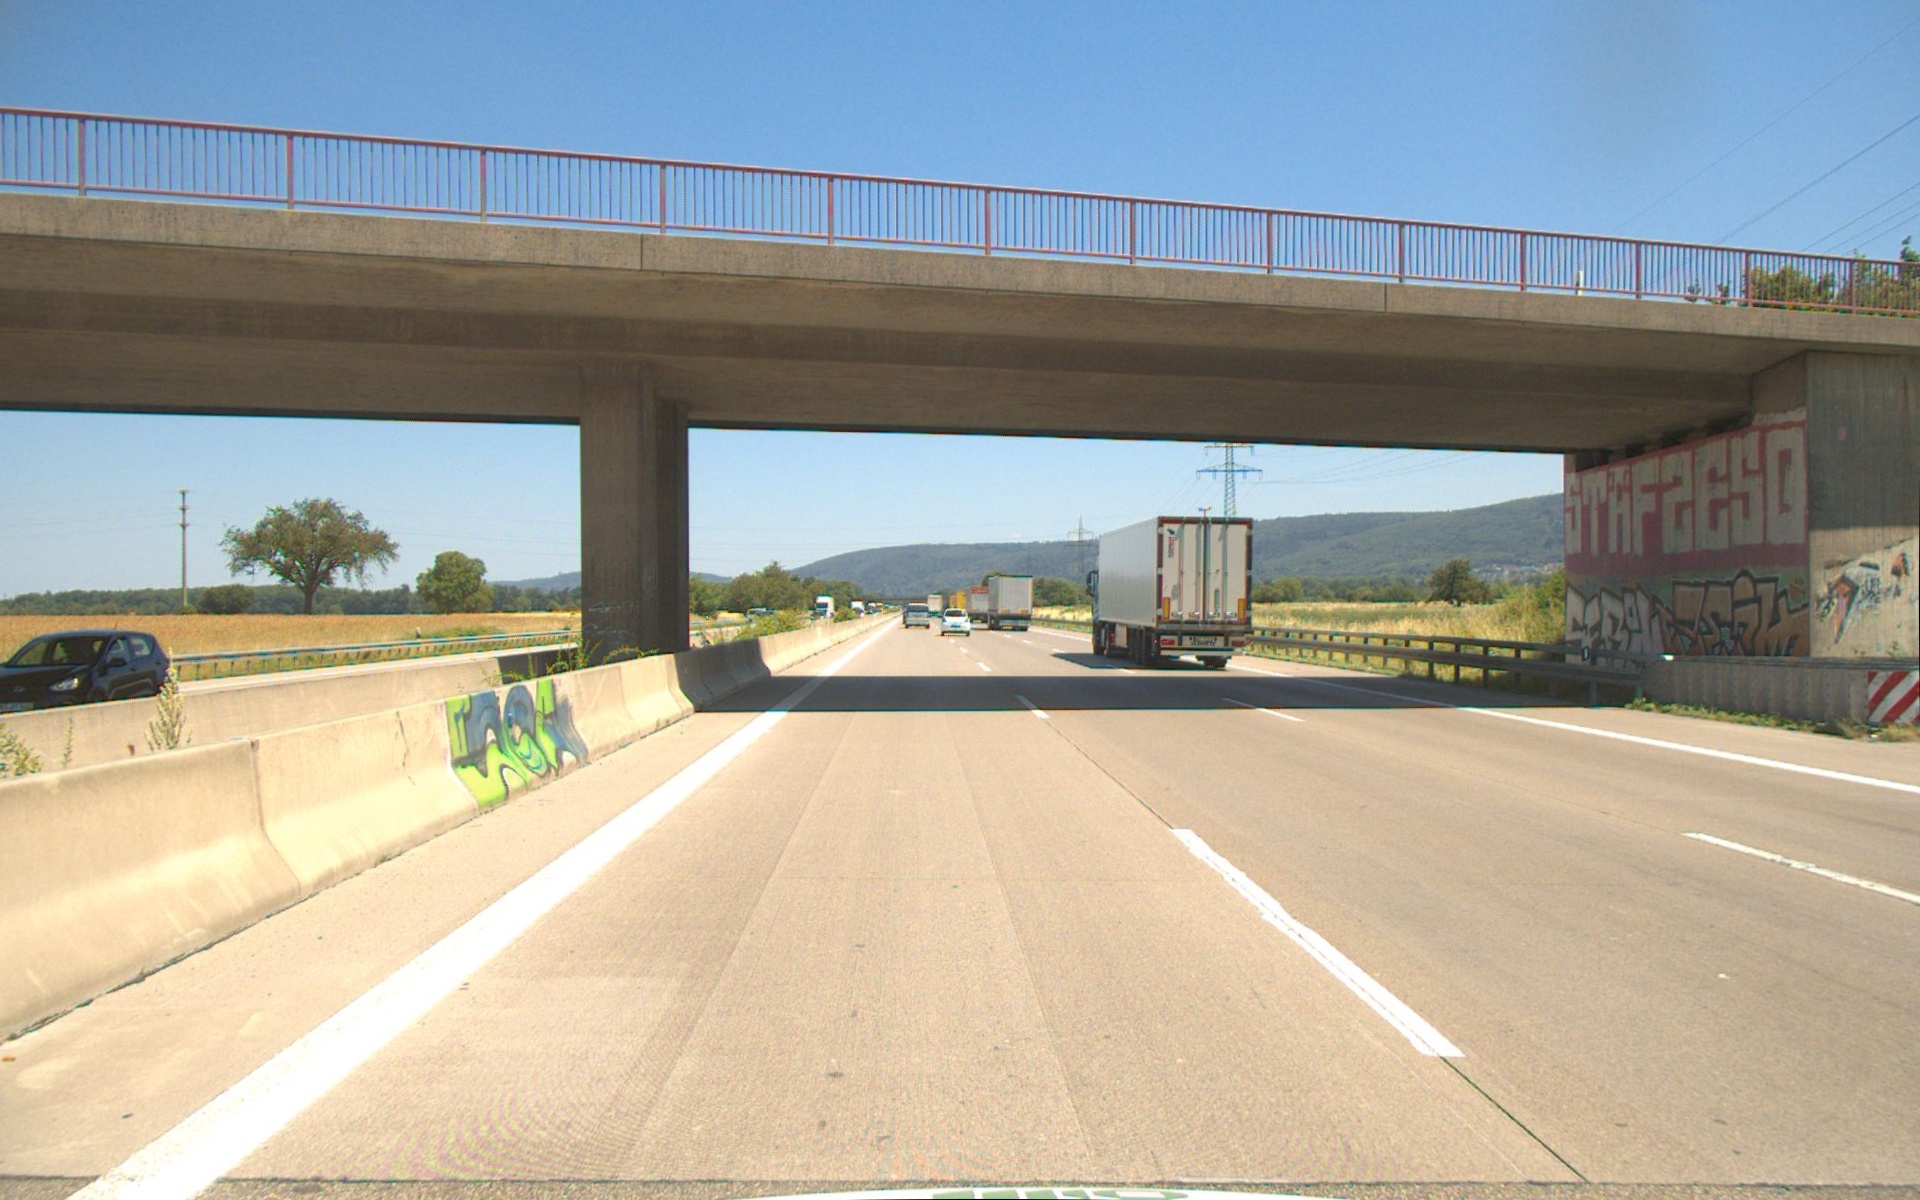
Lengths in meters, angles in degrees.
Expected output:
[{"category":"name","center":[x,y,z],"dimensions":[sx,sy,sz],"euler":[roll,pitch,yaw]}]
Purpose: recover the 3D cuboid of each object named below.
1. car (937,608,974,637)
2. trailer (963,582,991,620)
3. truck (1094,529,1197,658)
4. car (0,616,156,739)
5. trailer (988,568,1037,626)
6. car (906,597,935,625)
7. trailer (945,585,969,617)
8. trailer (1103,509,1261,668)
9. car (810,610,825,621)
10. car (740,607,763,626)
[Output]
[{"category":"car","center":[-0.270,1.271,94.666],"dimensions":[2.064,1.563,4.121],"euler":[1,0,0]},{"category":"trailer","center":[1.937,0.176,192.257],"dimensions":[2.815,4.172,13.509],"euler":[1,0,-1]},{"category":"truck","center":[6.227,-0.202,56.264],"dimensions":[2.695,4.114,5.464],"euler":[1,-1,-2]},{"category":"car","center":[-13.632,1.086,24.441],"dimensions":[1.730,1.647,3.860],"euler":[-1,0,-2]},{"category":"trailer","center":[3.919,-0.166,127.569],"dimensions":[2.957,4.132,14.202],"euler":[1,0,-1]},{"category":"car","center":[-3.056,0.836,128.265],"dimensions":[2.209,2.049,4.296],"euler":[1,0,-1]},{"category":"trailer","center":[-0.507,0.228,254.373],"dimensions":[3.151,4.643,13.452],"euler":[1,0,-1]},{"category":"trailer","center":[6.387,-0.246,49.933],"dimensions":[2.654,4.114,12.897],"euler":[1,0,-1]},{"category":"car","center":[-19.433,2.127,225.420],"dimensions":[1.678,1.383,5.041],"euler":[1,0,-2]},{"category":"car","center":[-22.667,1.763,180.052],"dimensions":[1.827,1.978,5.564],"euler":[1,0,-2]}]
